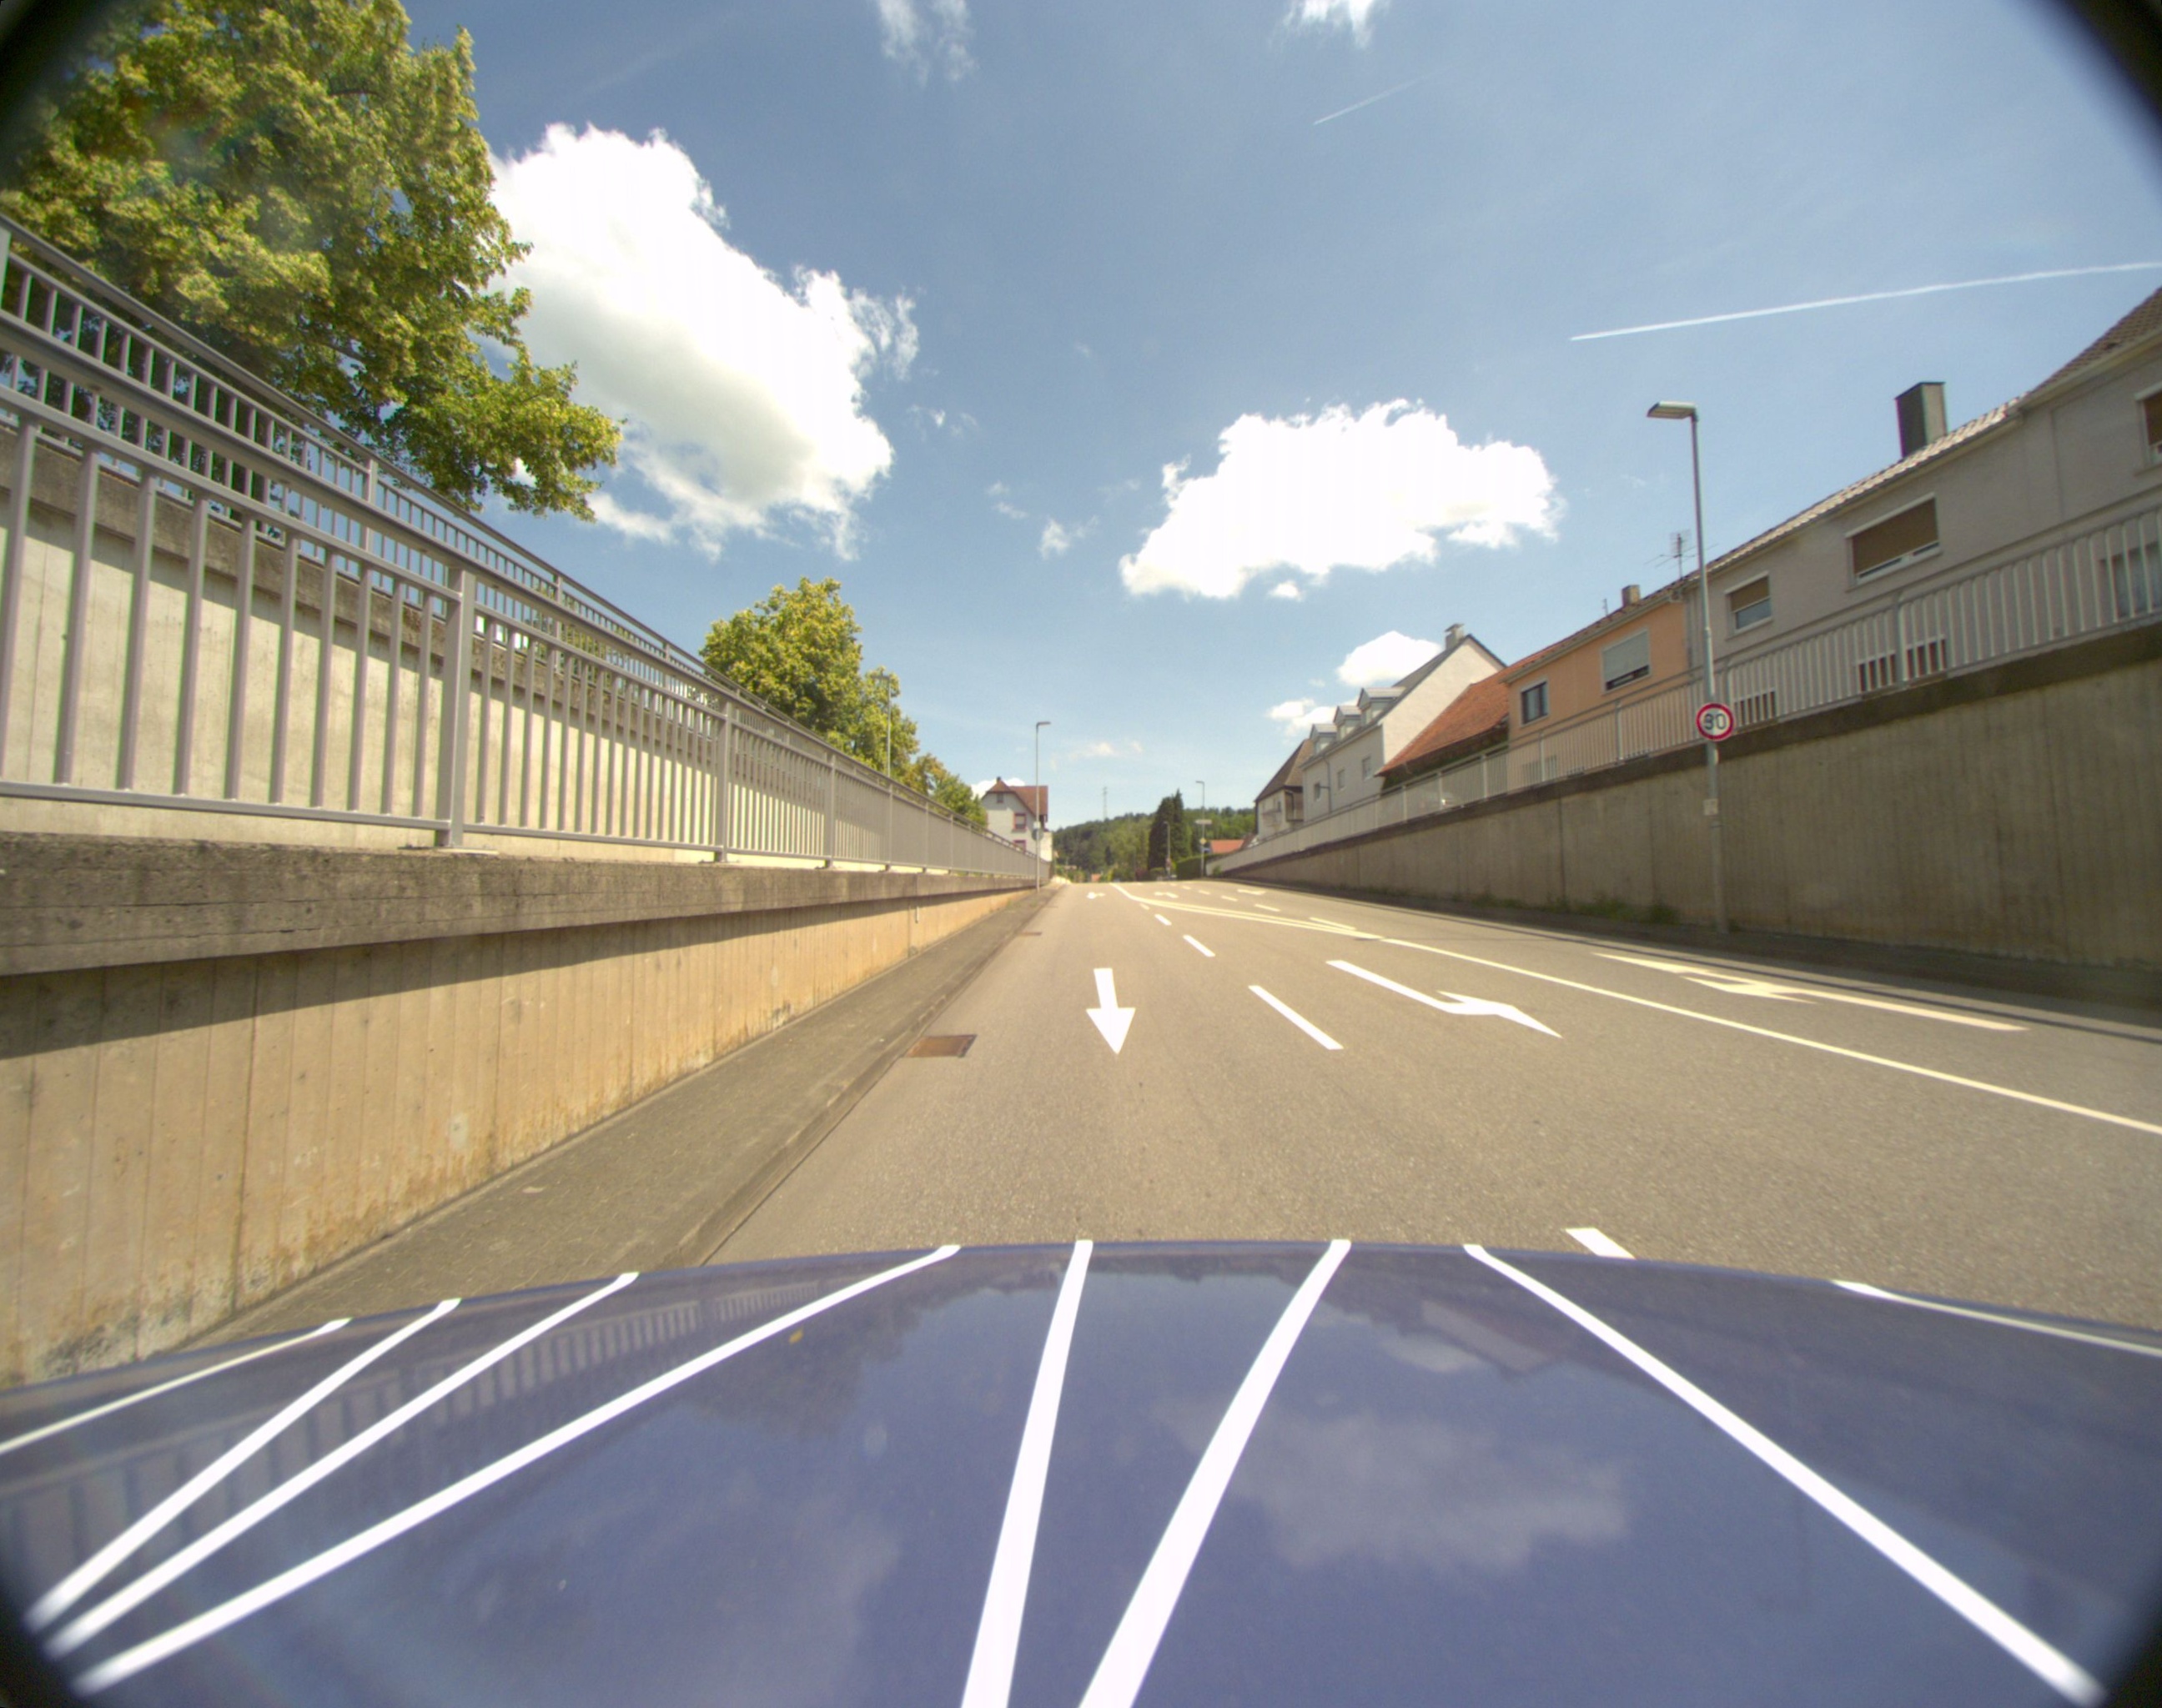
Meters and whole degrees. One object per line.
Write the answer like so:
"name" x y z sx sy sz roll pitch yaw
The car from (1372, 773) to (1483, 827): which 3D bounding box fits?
"car" 12.086 -1.827 26.861 1.790 1.396 4.394 -1 -2 -1
